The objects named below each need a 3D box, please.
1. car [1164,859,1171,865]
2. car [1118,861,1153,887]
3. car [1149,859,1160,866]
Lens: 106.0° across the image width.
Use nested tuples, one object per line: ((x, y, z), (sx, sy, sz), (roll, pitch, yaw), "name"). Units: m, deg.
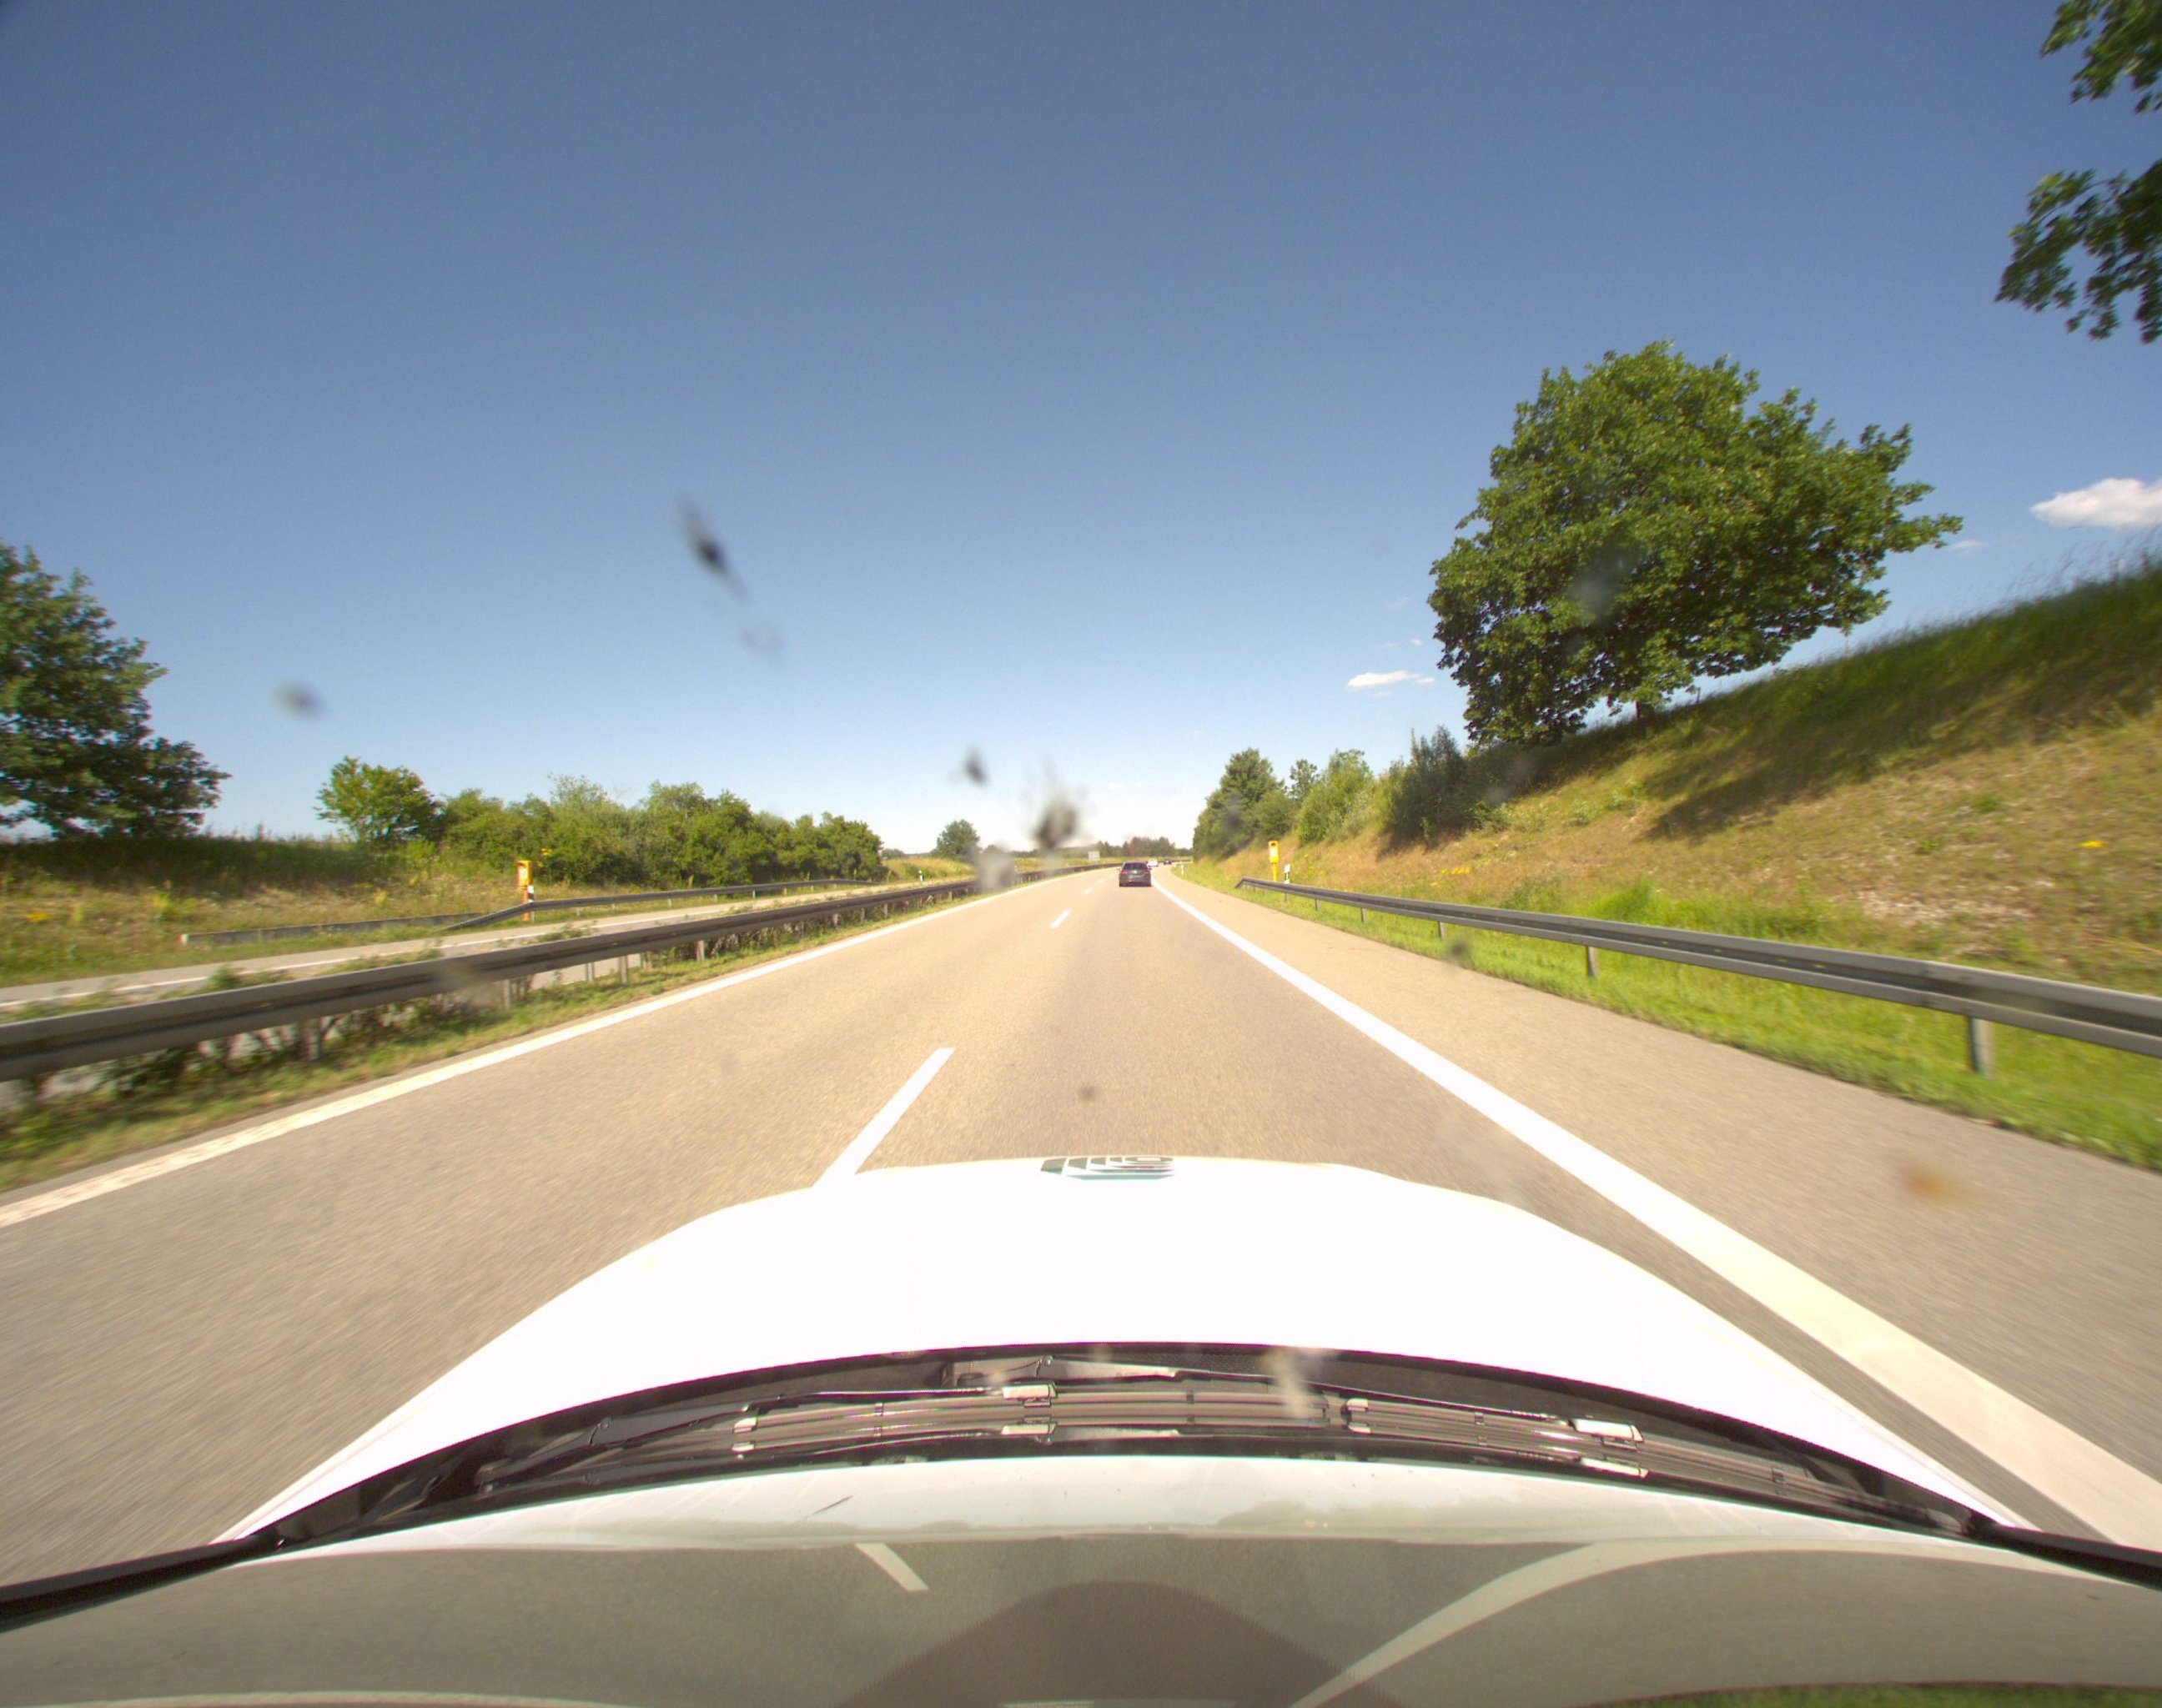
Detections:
((21.062, 1.971, 197.843), (1.701, 1.387, 3.361), (0, -1, 7), "car")
((3.018, 1.071, 45.747), (1.784, 1.344, 4.001), (-1, 0, 1), "car")
((14.184, 1.613, 157.142), (1.996, 1.345, 4.007), (0, -1, 7), "car")
